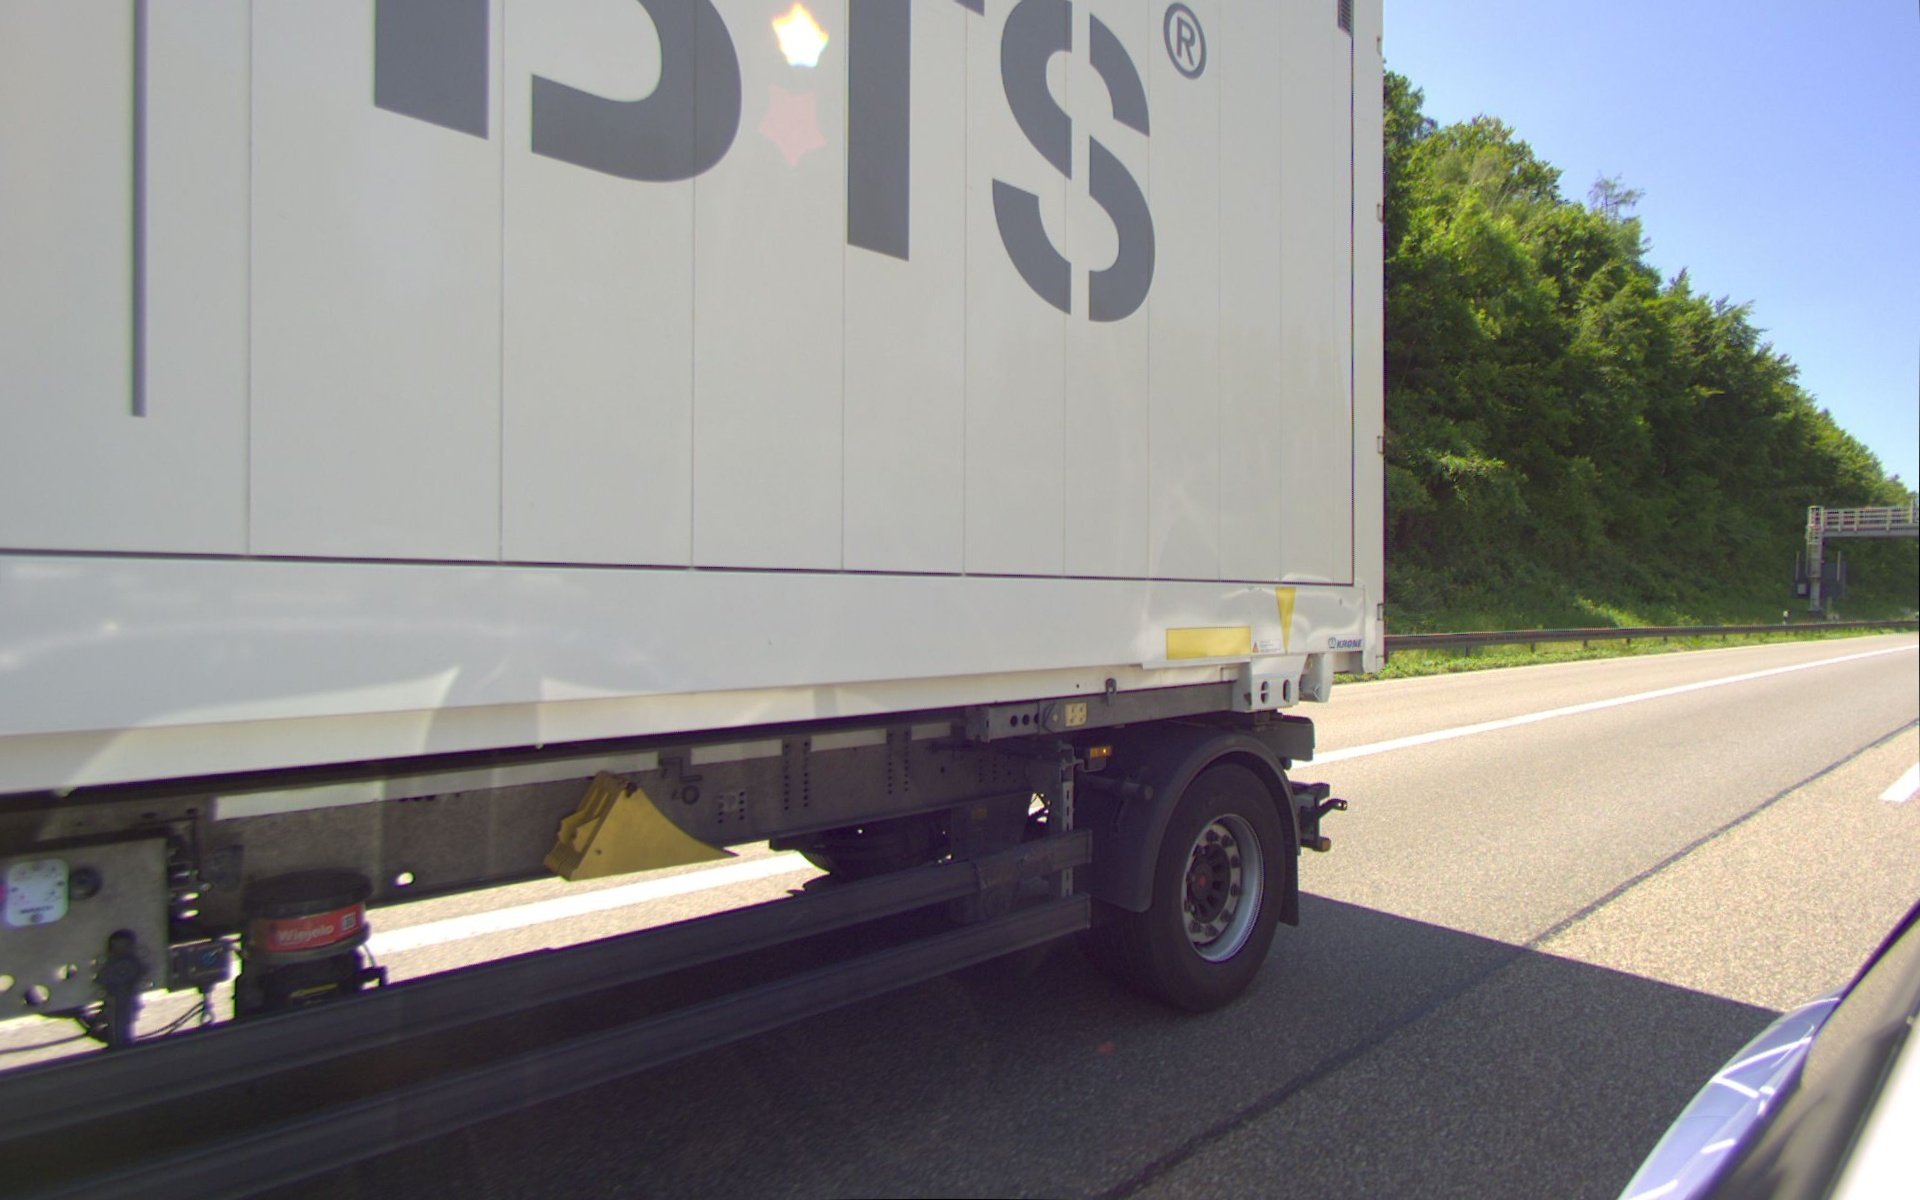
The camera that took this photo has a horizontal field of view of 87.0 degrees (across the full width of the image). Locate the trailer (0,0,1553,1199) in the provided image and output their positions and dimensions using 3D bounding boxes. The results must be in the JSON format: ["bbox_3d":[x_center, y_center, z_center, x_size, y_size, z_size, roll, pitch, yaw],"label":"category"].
[{"bbox_3d":[-1.400,-0.632,3.162,9.890,4.229,2.684,1,0,-41],"label":"trailer"}]
